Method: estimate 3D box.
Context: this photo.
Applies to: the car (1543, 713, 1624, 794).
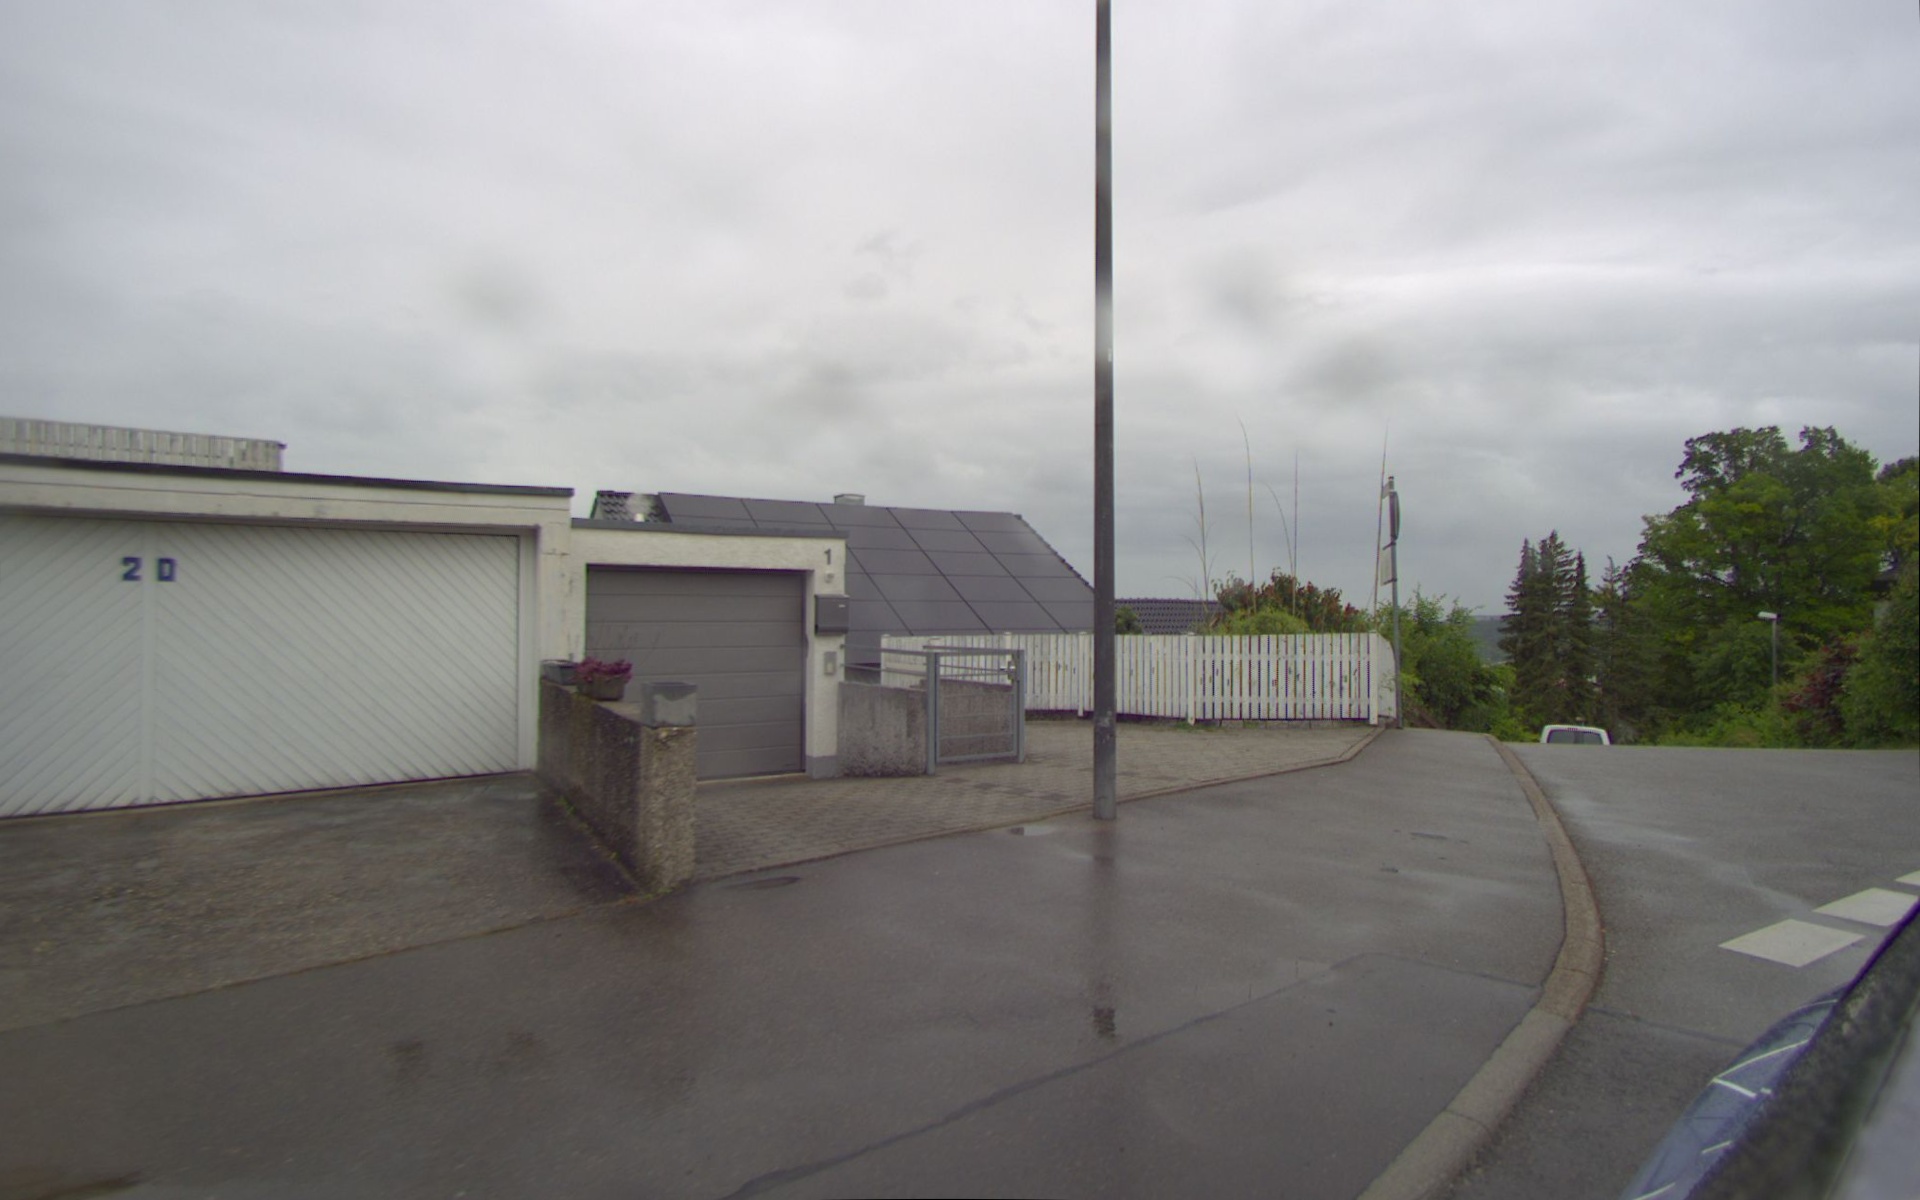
[{"bbox_3d":[17.020,4.250,27.687,1.740,1.765,3.953,-1,-13,31],"label":"car"}]
